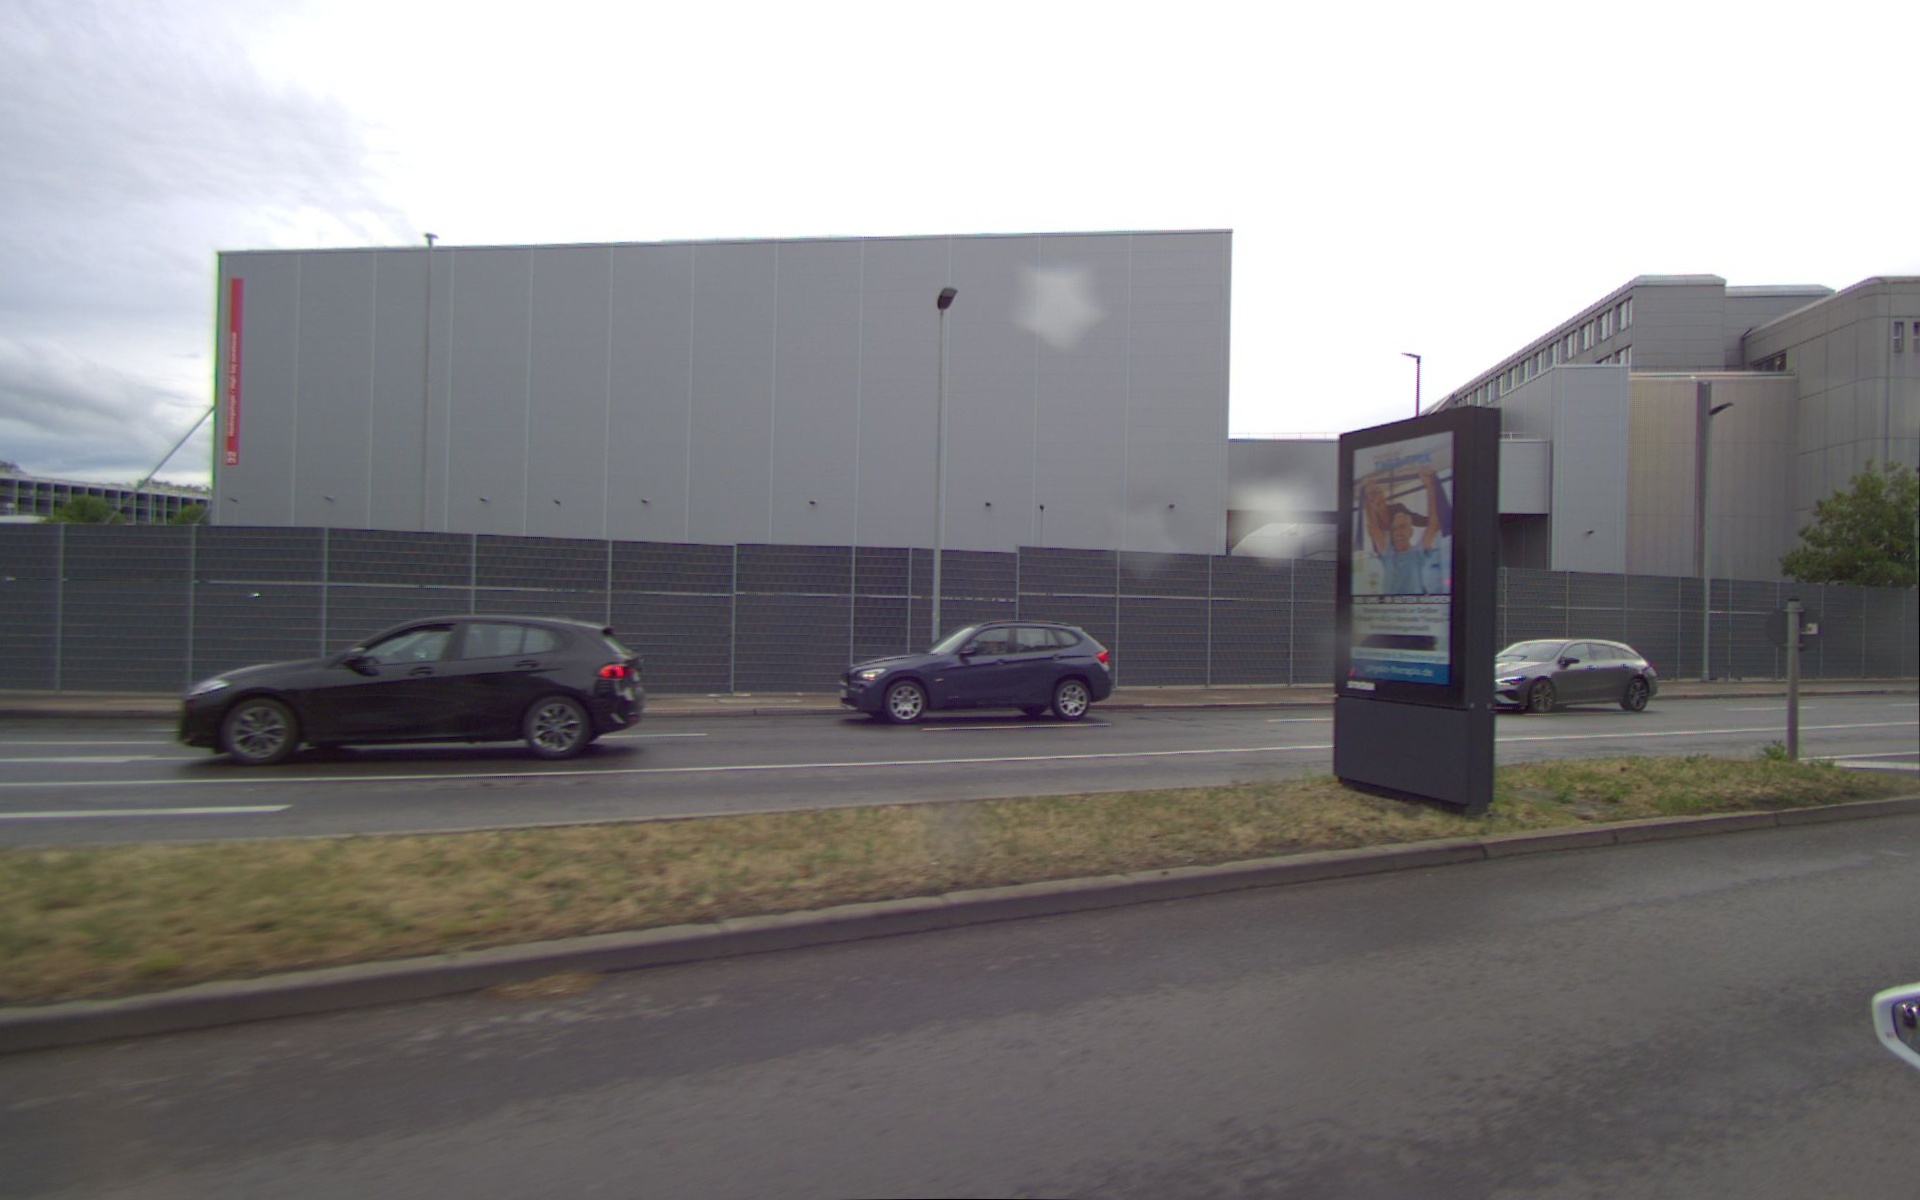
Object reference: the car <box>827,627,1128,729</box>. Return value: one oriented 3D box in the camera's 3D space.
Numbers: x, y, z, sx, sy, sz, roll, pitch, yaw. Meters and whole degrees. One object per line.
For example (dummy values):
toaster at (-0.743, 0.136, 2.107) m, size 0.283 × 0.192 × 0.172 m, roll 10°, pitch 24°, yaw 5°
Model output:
car at (0.268, 1.198, 16.059) m, size 4.491 × 1.473 × 1.781 m, roll 1°, pitch -2°, yaw -20°

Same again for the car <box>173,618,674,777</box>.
car at (-5.331, 0.948, 10.635) m, size 4.321 × 1.459 × 1.784 m, roll 1°, pitch -1°, yaw -14°

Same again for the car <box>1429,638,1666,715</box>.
car at (11.728, 1.491, 20.038) m, size 4.481 × 1.403 × 1.779 m, roll 1°, pitch -3°, yaw -23°
